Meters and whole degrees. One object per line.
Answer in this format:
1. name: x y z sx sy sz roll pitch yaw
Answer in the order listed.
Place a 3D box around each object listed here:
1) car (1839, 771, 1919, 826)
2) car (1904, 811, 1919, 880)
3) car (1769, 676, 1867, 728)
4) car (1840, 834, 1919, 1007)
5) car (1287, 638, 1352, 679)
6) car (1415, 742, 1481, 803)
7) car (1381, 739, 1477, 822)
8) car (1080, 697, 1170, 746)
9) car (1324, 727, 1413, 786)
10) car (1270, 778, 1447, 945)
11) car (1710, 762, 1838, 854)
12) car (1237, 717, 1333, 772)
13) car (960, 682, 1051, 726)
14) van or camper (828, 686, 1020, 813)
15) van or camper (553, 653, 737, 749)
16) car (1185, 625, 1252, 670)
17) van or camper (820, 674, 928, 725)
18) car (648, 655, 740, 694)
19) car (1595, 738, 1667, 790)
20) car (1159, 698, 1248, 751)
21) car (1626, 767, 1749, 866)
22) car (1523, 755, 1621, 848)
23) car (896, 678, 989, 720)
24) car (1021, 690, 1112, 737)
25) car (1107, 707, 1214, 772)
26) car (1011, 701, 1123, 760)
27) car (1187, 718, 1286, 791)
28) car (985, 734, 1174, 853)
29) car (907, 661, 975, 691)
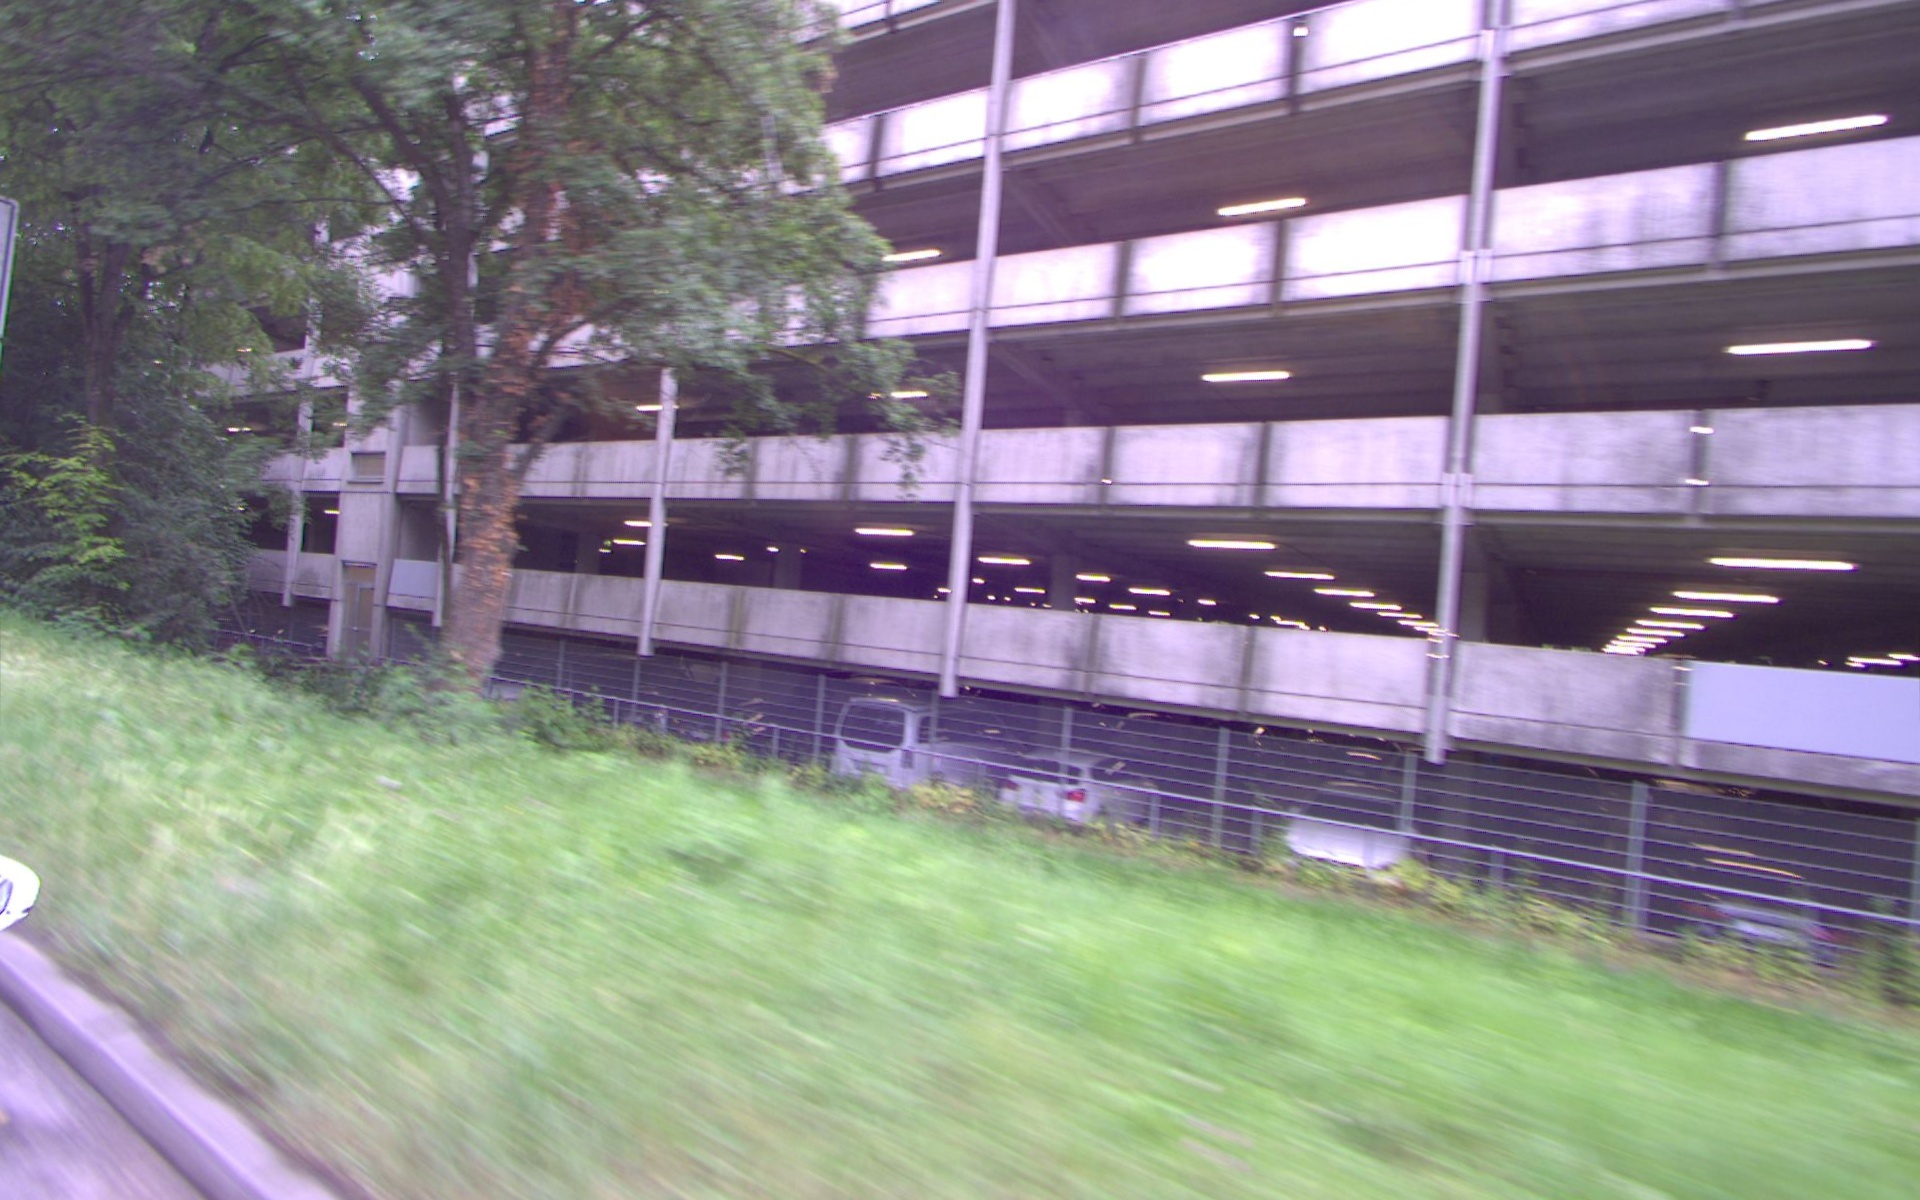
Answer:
1. car: 30.292 6.453 32.817 1.668 1.283 3.520 5 -2 30
2. car: 20.198 5.142 19.626 1.645 1.299 3.668 5 -1 29
3. car: 28.150 3.319 33.128 1.832 1.444 4.182 3 -3 33
4. car: 12.740 4.138 12.373 1.915 1.525 4.597 6 -1 30
5. car: 16.808 2.737 46.891 1.832 1.660 4.182 3 -3 33
6. car: 14.068 4.920 28.941 1.418 1.348 3.133 5 -2 29
7. car: 11.676 4.390 24.935 1.646 1.459 3.666 5 -1 32
8. car: 5.725 4.119 34.556 1.759 1.323 3.696 4 -1 31
9. car: 12.208 4.608 29.955 1.578 1.323 3.691 4 -1 36
10. car: 6.298 3.859 15.599 1.916 1.525 4.261 5 -1 29
11. car: 20.329 5.131 25.281 1.758 1.563 3.698 4 -1 29
12. car: 10.267 4.486 31.637 1.761 1.323 3.691 4 -1 36
13. car: 1.738 3.801 37.149 1.759 1.323 3.696 4 -1 31
14. van or camper: -0.580 2.795 19.716 1.809 1.978 4.011 5 -1 29
15. van or camper: -7.632 2.427 24.733 1.810 1.978 4.009 5 -1 31
16. car: 12.725 2.352 49.328 1.832 1.907 4.182 3 -2 33
17. van or camper: -2.869 3.334 34.162 1.699 1.426 3.717 5 -1 31
18. car: -10.426 2.922 39.583 1.544 1.323 3.203 4 -1 34
19. car: 24.122 5.868 36.260 1.667 1.284 3.520 7 0 28
20. car: 8.095 4.068 33.250 1.695 1.440 3.697 4 -2 32
21. car: 16.099 4.728 22.419 1.645 1.459 3.668 5 -1 29
22. car: 14.048 4.571 23.262 1.645 1.459 3.668 5 -1 29
23. car: -0.595 3.692 37.889 1.759 1.323 3.696 4 -1 31
24. car: 3.808 3.944 35.501 1.759 1.323 3.696 4 -1 31
25. car: 5.836 3.960 28.990 1.647 1.459 3.664 5 -1 34
26. car: 3.210 3.791 29.629 1.647 1.373 3.664 5 -1 34
27. car: 7.458 4.059 26.929 1.645 1.459 3.668 5 -1 29
28. car: 2.272 3.356 18.136 1.916 1.453 4.012 4 -2 29
29. car: -0.959 3.929 51.950 1.759 1.323 3.696 4 -1 31
